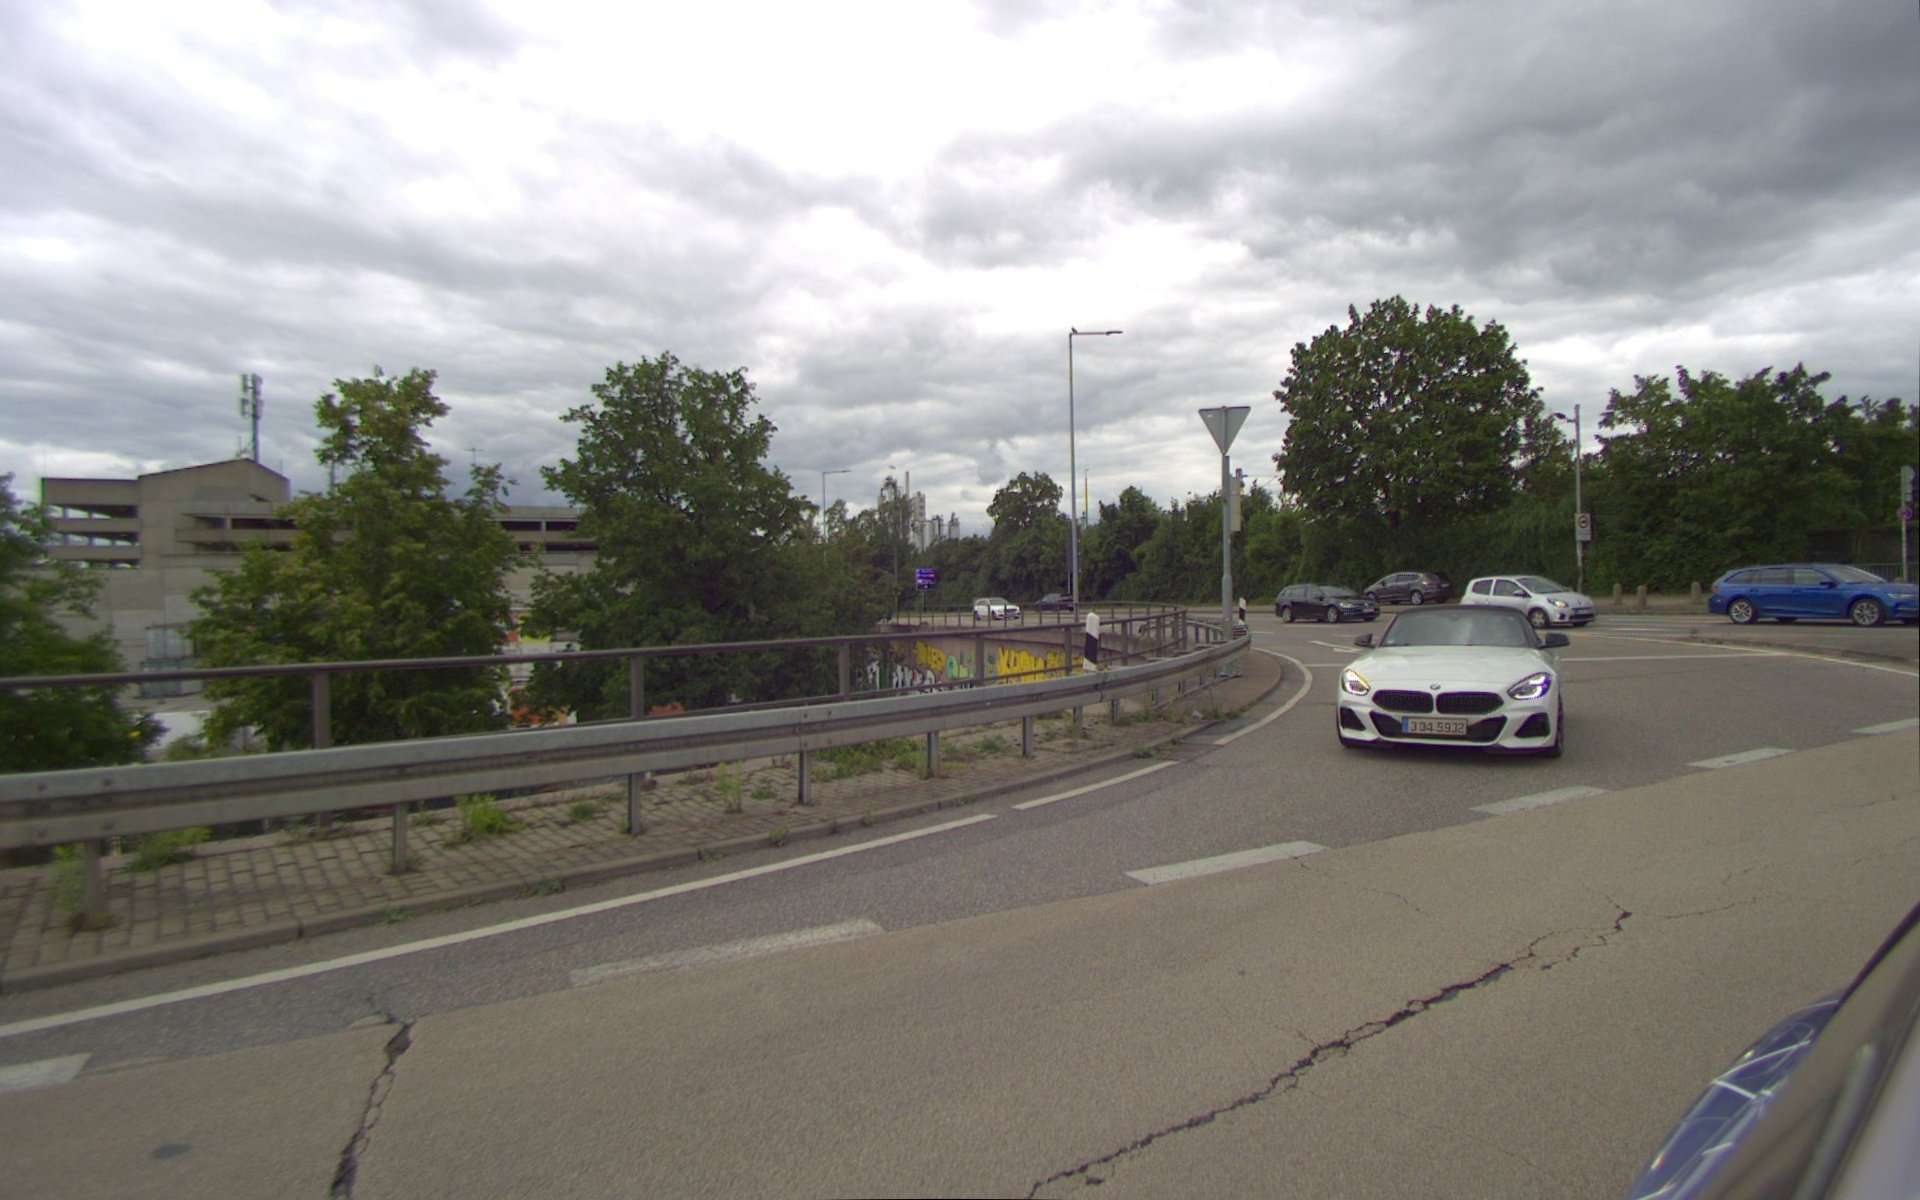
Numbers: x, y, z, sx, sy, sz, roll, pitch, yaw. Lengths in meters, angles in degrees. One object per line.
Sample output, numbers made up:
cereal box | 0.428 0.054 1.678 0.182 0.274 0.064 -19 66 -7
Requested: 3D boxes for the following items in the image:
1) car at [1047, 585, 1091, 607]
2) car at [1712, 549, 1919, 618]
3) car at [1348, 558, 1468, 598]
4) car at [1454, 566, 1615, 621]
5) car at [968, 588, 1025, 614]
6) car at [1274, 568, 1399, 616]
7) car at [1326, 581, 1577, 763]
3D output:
car | 8.310 -0.263 77.483 1.616 1.580 3.851 -3 0 -22
car | 20.521 -0.382 23.724 1.576 1.472 4.552 -3 1 -17
car | 22.194 -1.066 50.467 2.090 1.778 5.502 -3 0 -22
car | 16.009 -0.172 28.411 1.595 1.391 3.756 -3 0 -19
car | 2.328 0.073 66.540 1.839 1.580 4.723 -3 0 -24
car | 13.709 -0.278 37.111 1.907 1.576 4.303 -3 0 -20
car | 5.277 0.564 10.535 1.848 1.361 4.773 -2 1 31
